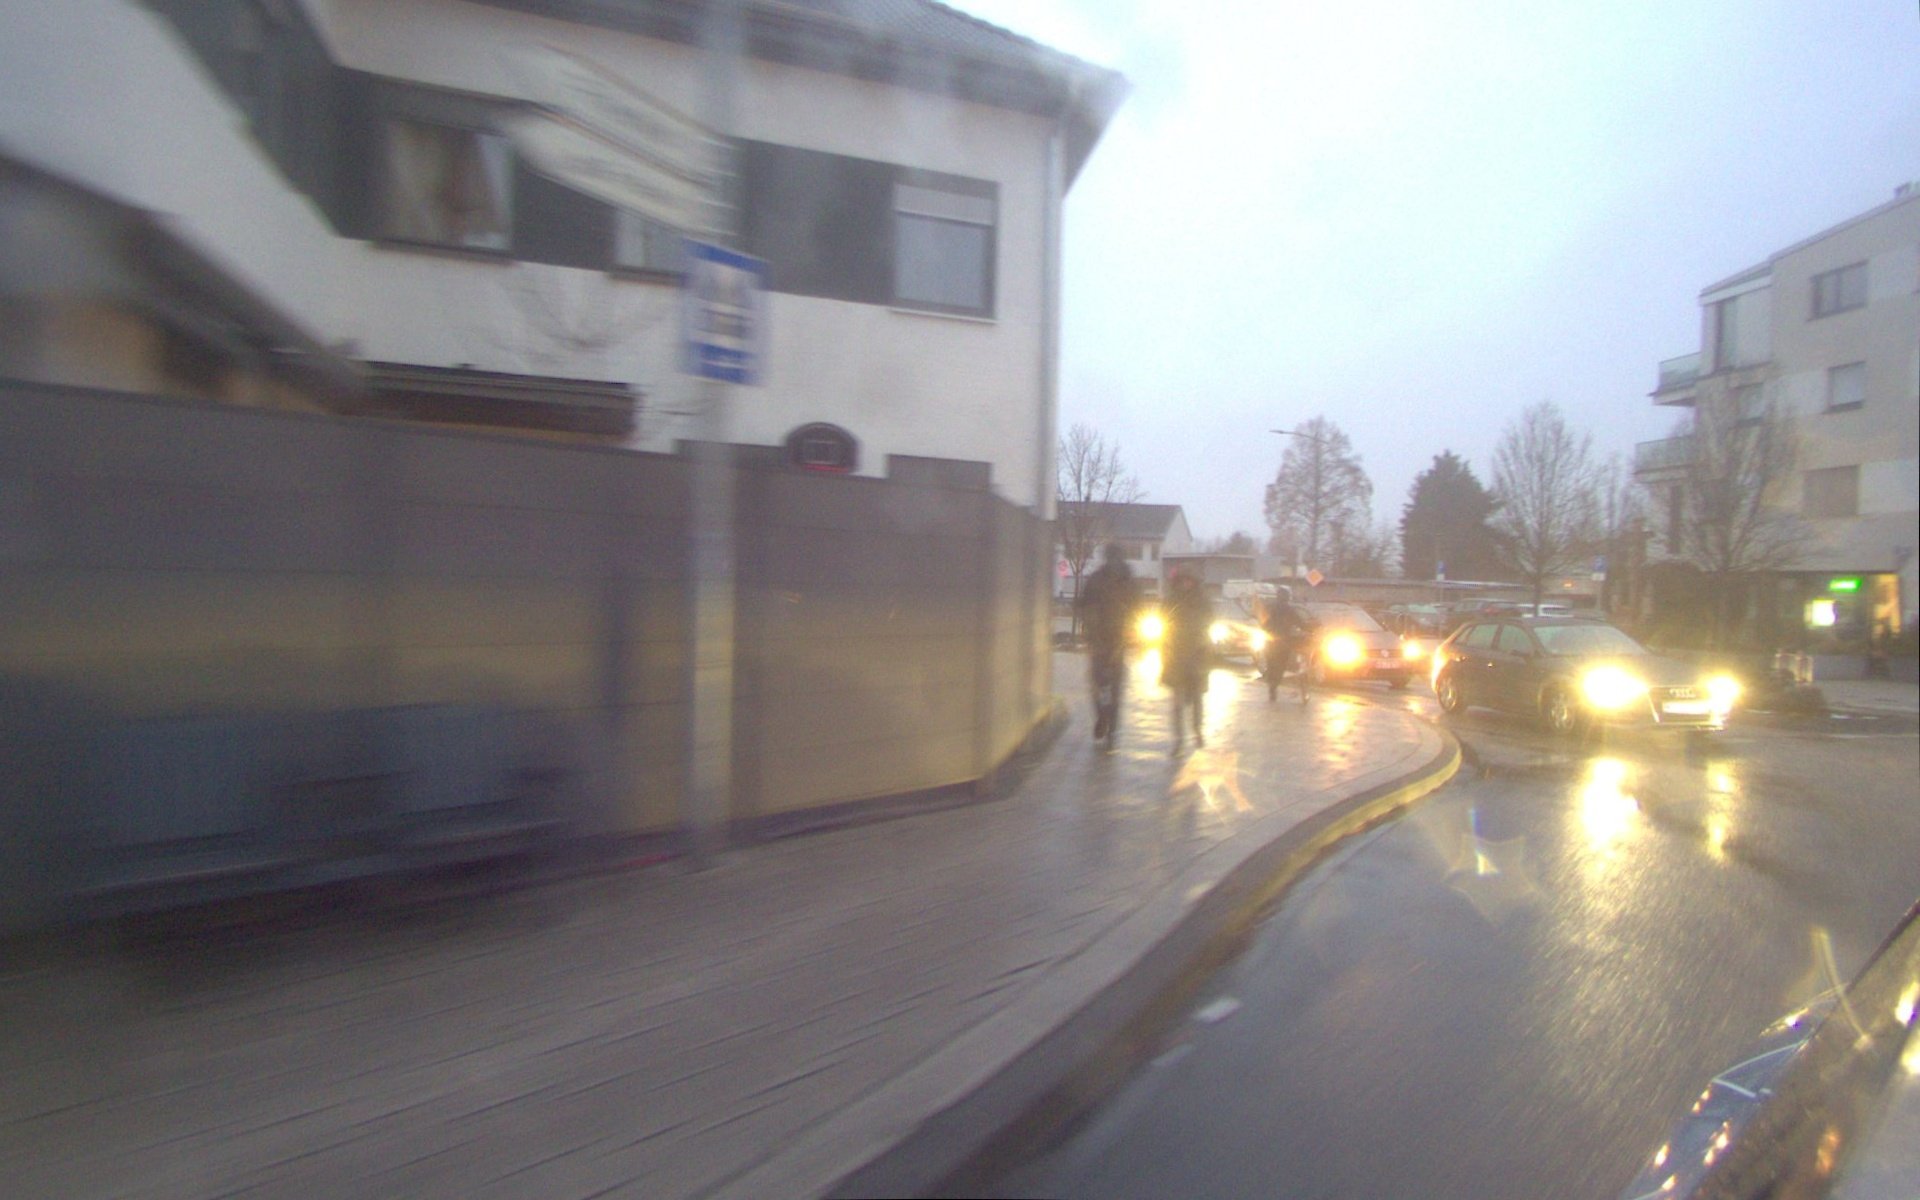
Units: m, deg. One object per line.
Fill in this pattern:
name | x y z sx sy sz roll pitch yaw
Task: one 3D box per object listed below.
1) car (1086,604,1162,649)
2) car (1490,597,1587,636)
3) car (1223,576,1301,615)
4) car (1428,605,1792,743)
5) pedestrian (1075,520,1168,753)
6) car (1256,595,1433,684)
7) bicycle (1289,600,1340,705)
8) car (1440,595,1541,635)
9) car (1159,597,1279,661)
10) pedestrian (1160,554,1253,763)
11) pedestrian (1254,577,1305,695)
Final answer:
car | 5.547 0.860 34.642 1.532 1.346 3.684 2 0 -7
car | 24.117 0.652 42.323 1.487 1.492 3.452 2 0 -15
car | 16.765 -0.277 56.422 2.168 2.039 4.867 1 0 -10
car | 8.024 0.810 13.080 1.815 1.401 4.237 -1 0 -2
pedestrian | 1.350 0.289 8.572 0.626 1.855 0.716 3 0 6
car | 7.433 0.693 20.020 1.663 1.571 4.004 0 0 -5
bicycle | 4.894 0.675 13.947 0.545 1.311 1.929 3 1 20
car | 21.694 0.589 41.557 1.680 1.535 3.773 1 0 -10
car | 6.721 0.706 26.739 1.662 1.527 4.263 0 1 -6
pedestrian | 2.051 0.464 8.488 0.572 1.641 0.716 3 0 6
pedestrian | 4.481 0.490 14.189 0.602 1.584 0.687 3 0 20
